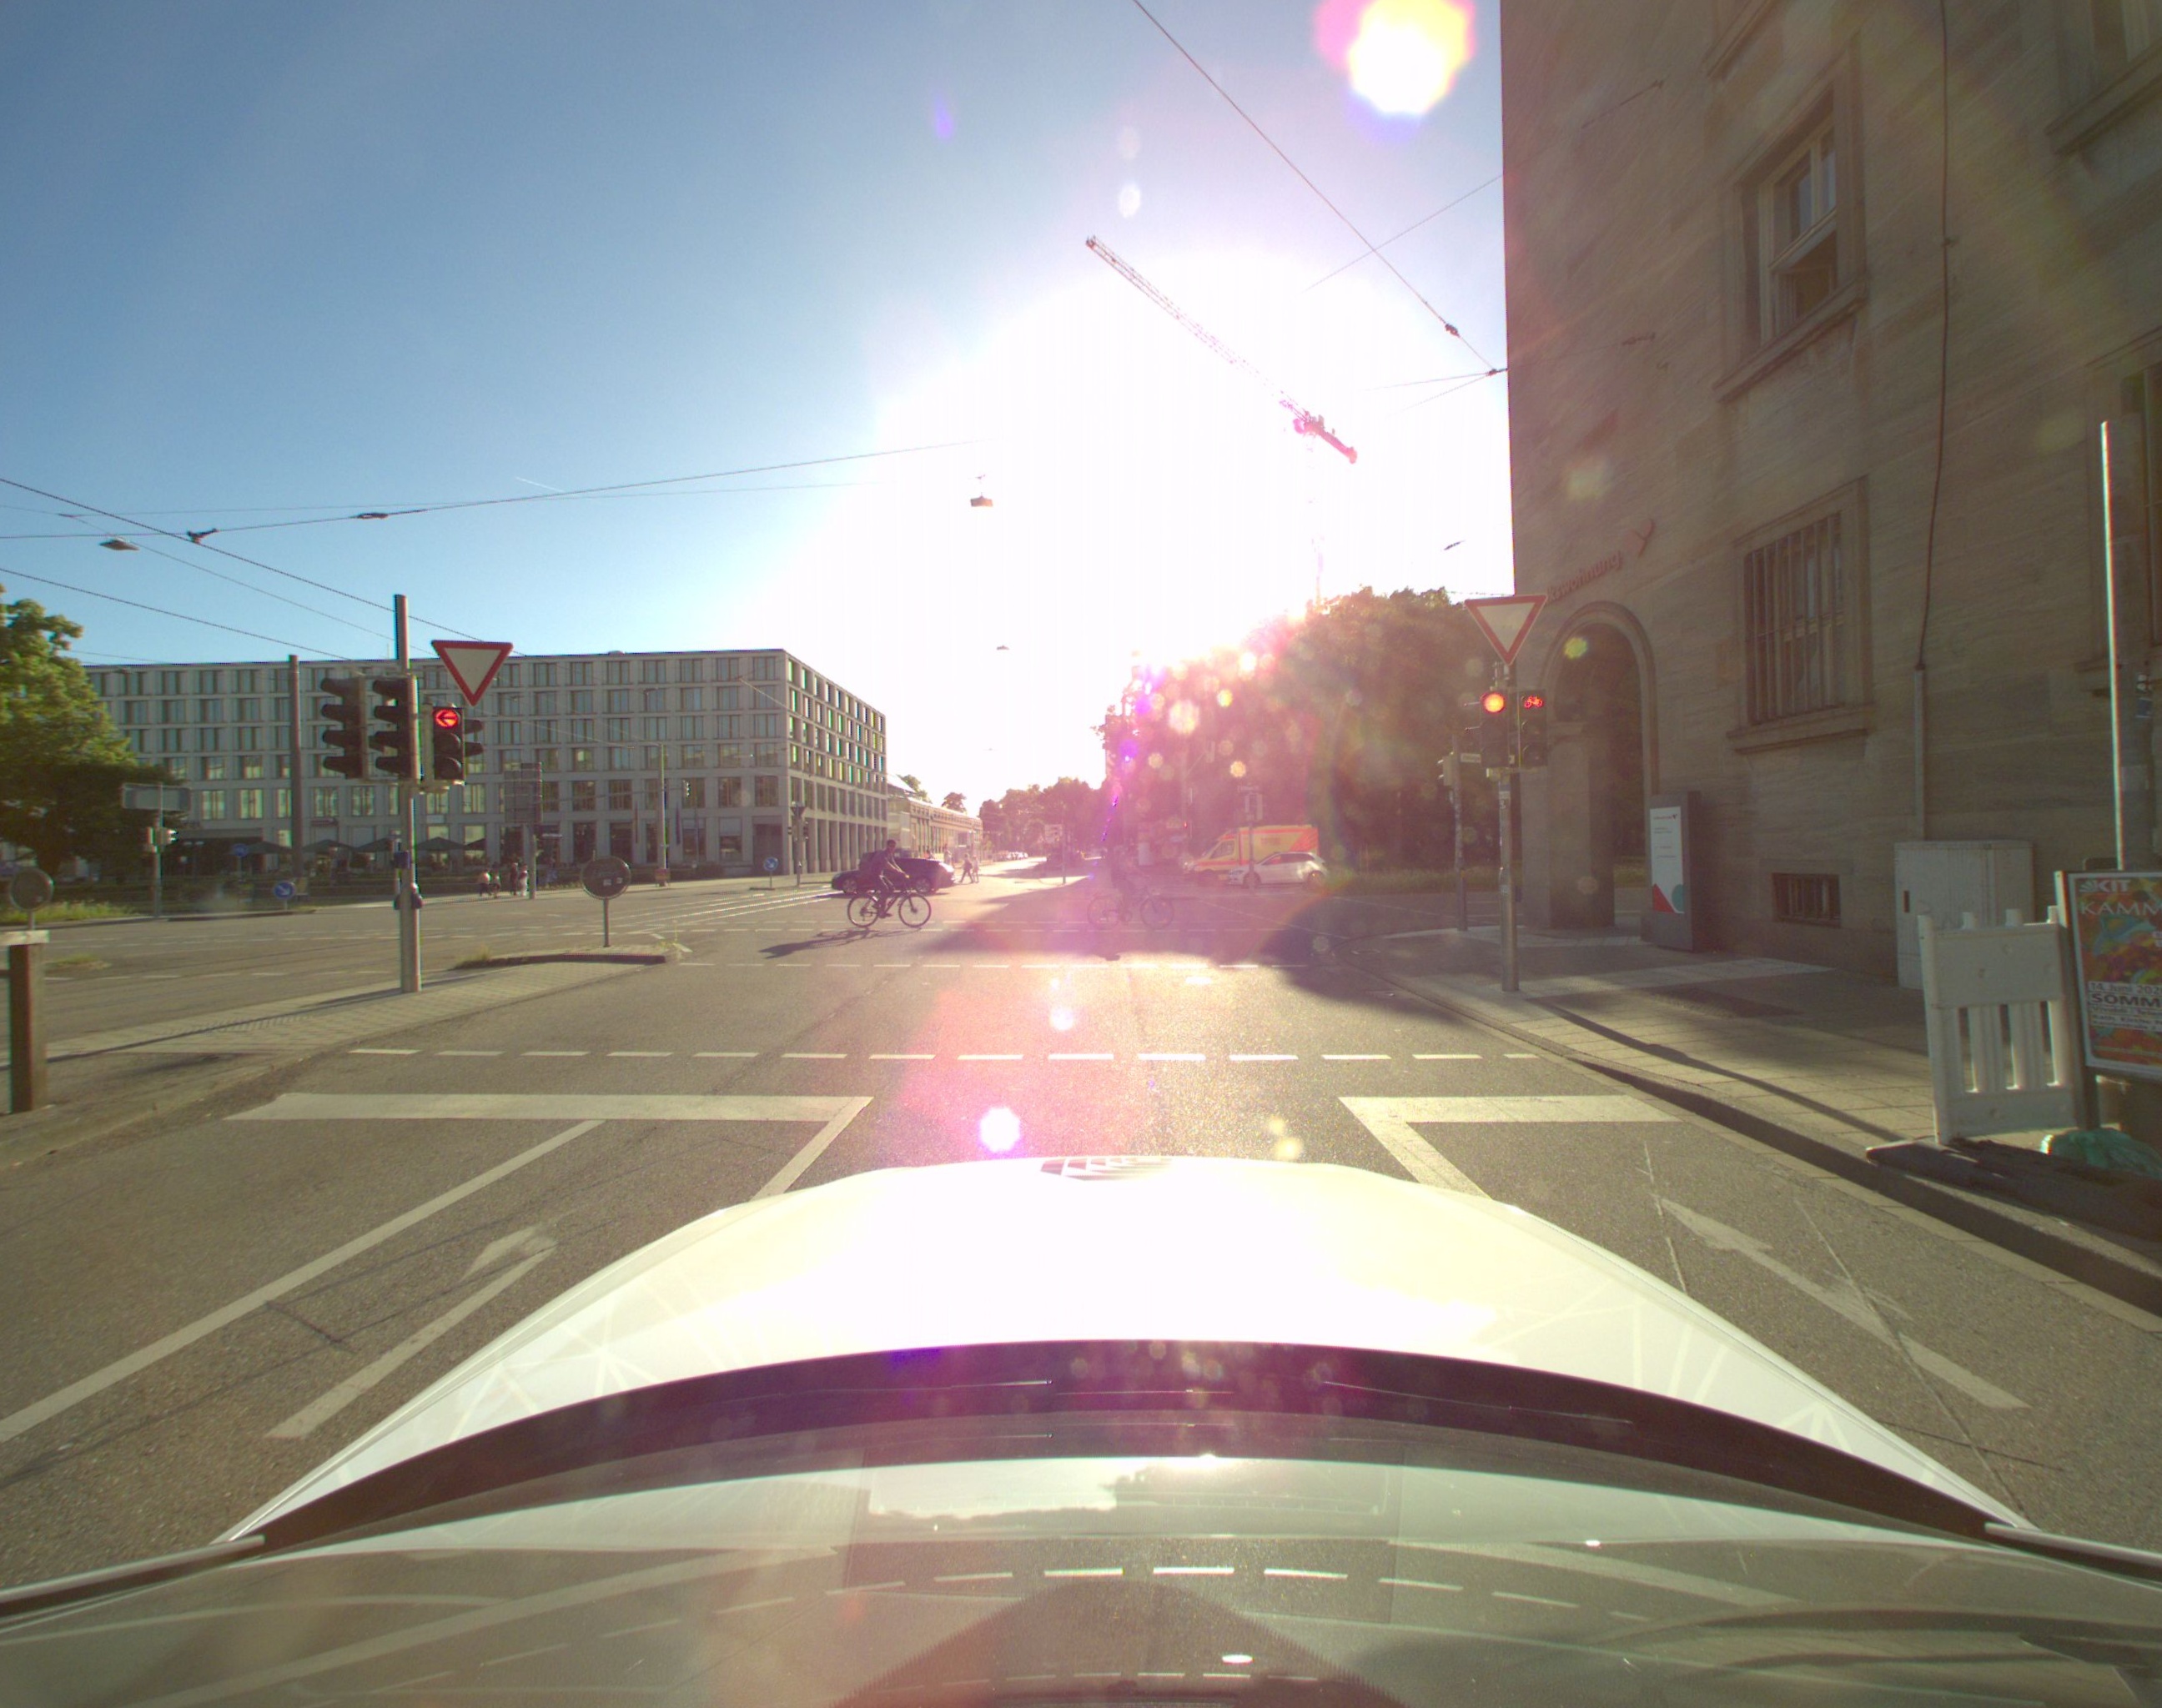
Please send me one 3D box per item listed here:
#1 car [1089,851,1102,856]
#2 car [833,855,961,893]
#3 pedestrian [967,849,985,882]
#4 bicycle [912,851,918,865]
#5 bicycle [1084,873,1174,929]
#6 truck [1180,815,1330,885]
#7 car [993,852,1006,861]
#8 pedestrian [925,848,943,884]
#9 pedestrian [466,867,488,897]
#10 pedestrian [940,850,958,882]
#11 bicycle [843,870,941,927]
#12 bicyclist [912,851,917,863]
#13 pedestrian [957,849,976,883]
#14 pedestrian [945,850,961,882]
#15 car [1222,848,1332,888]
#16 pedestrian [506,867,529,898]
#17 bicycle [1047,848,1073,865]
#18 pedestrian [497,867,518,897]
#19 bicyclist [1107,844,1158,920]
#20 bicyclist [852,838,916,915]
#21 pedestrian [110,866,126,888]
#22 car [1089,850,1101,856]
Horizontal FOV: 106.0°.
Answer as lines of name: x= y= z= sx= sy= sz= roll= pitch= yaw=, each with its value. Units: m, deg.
car: x=3.743 y=-0.086 z=211.405 sx=3.208 sy=1.263 sz=1.373 roll=0 pitch=-1 yaw=-1
car: x=-7.397 y=0.835 z=33.140 sx=4.721 sy=1.415 sz=1.999 roll=-1 pitch=-2 yaw=-1
pedestrian: x=-5.893 y=0.629 z=45.807 sx=0.865 sy=1.803 sz=0.533 roll=-2 pitch=0 yaw=7
bicycle: x=-26.813 y=0.645 z=131.248 sx=0.569 sy=2.296 sz=1.422 roll=-2 pitch=0 yaw=0
bicycle: x=1.006 y=0.956 z=16.777 sx=1.804 sy=1.085 sz=0.768 roll=0 pitch=2 yaw=5
truck: x=8.079 y=-0.177 z=38.341 sx=6.446 sy=3.016 sz=2.725 roll=-1 pitch=0 yaw=0
car: x=-15.676 y=0.443 z=157.019 sx=1.888 sy=1.607 sz=4.499 roll=-2 pitch=0 yaw=0
pedestrian: x=-8.008 y=0.634 z=44.401 sx=0.797 sy=1.918 sz=0.638 roll=-2 pitch=0 yaw=7
pedestrian: x=-33.056 y=1.526 z=44.542 sx=0.690 sy=1.644 sz=0.623 roll=-2 pitch=0 yaw=9
pedestrian: x=-7.414 y=0.675 z=45.769 sx=0.735 sy=1.803 sz=0.717 roll=-2 pitch=0 yaw=7
bicycle: x=-4.014 y=0.935 z=17.370 sx=1.864 sy=1.158 sz=0.767 roll=-1 pitch=0 yaw=4
bicyclist: x=-26.808 y=0.503 z=131.218 sx=0.569 sy=2.024 sz=0.762 roll=-2 pitch=0 yaw=0
pedestrian: x=-6.323 y=0.658 z=45.048 sx=0.865 sy=1.803 sz=0.665 roll=-2 pitch=0 yaw=7
pedestrian: x=-7.339 y=0.685 z=46.557 sx=0.735 sy=1.803 sz=0.533 roll=-2 pitch=0 yaw=7
car: x=7.884 y=0.550 z=32.980 sx=4.030 sy=1.434 sz=1.631 roll=-2 pitch=0 yaw=-1
pedestrian: x=-30.861 y=1.576 z=44.612 sx=0.790 sy=1.644 sz=0.621 roll=-2 pitch=0 yaw=-3
bicycle: x=-2.135 y=0.240 z=81.718 sx=2.538 sy=1.744 sz=1.038 roll=0 pitch=-1 yaw=1
pedestrian: x=-32.033 y=1.573 z=45.459 sx=0.692 sy=1.644 sz=0.621 roll=-2 pitch=0 yaw=-3
bicyclist: x=1.072 y=0.565 z=16.760 sx=0.997 sy=1.512 sz=0.768 roll=0 pitch=2 yaw=5
bicyclist: x=-4.197 y=0.465 z=17.411 sx=1.118 sy=1.594 sz=0.767 roll=-1 pitch=0 yaw=4
pedestrian: x=-73.237 y=1.756 z=61.924 sx=0.538 sy=1.669 sz=0.561 roll=0 pitch=-1 yaw=-2
car: x=3.633 y=-0.244 z=213.651 sx=3.207 sy=1.588 sz=1.445 roll=0 pitch=-1 yaw=-3
